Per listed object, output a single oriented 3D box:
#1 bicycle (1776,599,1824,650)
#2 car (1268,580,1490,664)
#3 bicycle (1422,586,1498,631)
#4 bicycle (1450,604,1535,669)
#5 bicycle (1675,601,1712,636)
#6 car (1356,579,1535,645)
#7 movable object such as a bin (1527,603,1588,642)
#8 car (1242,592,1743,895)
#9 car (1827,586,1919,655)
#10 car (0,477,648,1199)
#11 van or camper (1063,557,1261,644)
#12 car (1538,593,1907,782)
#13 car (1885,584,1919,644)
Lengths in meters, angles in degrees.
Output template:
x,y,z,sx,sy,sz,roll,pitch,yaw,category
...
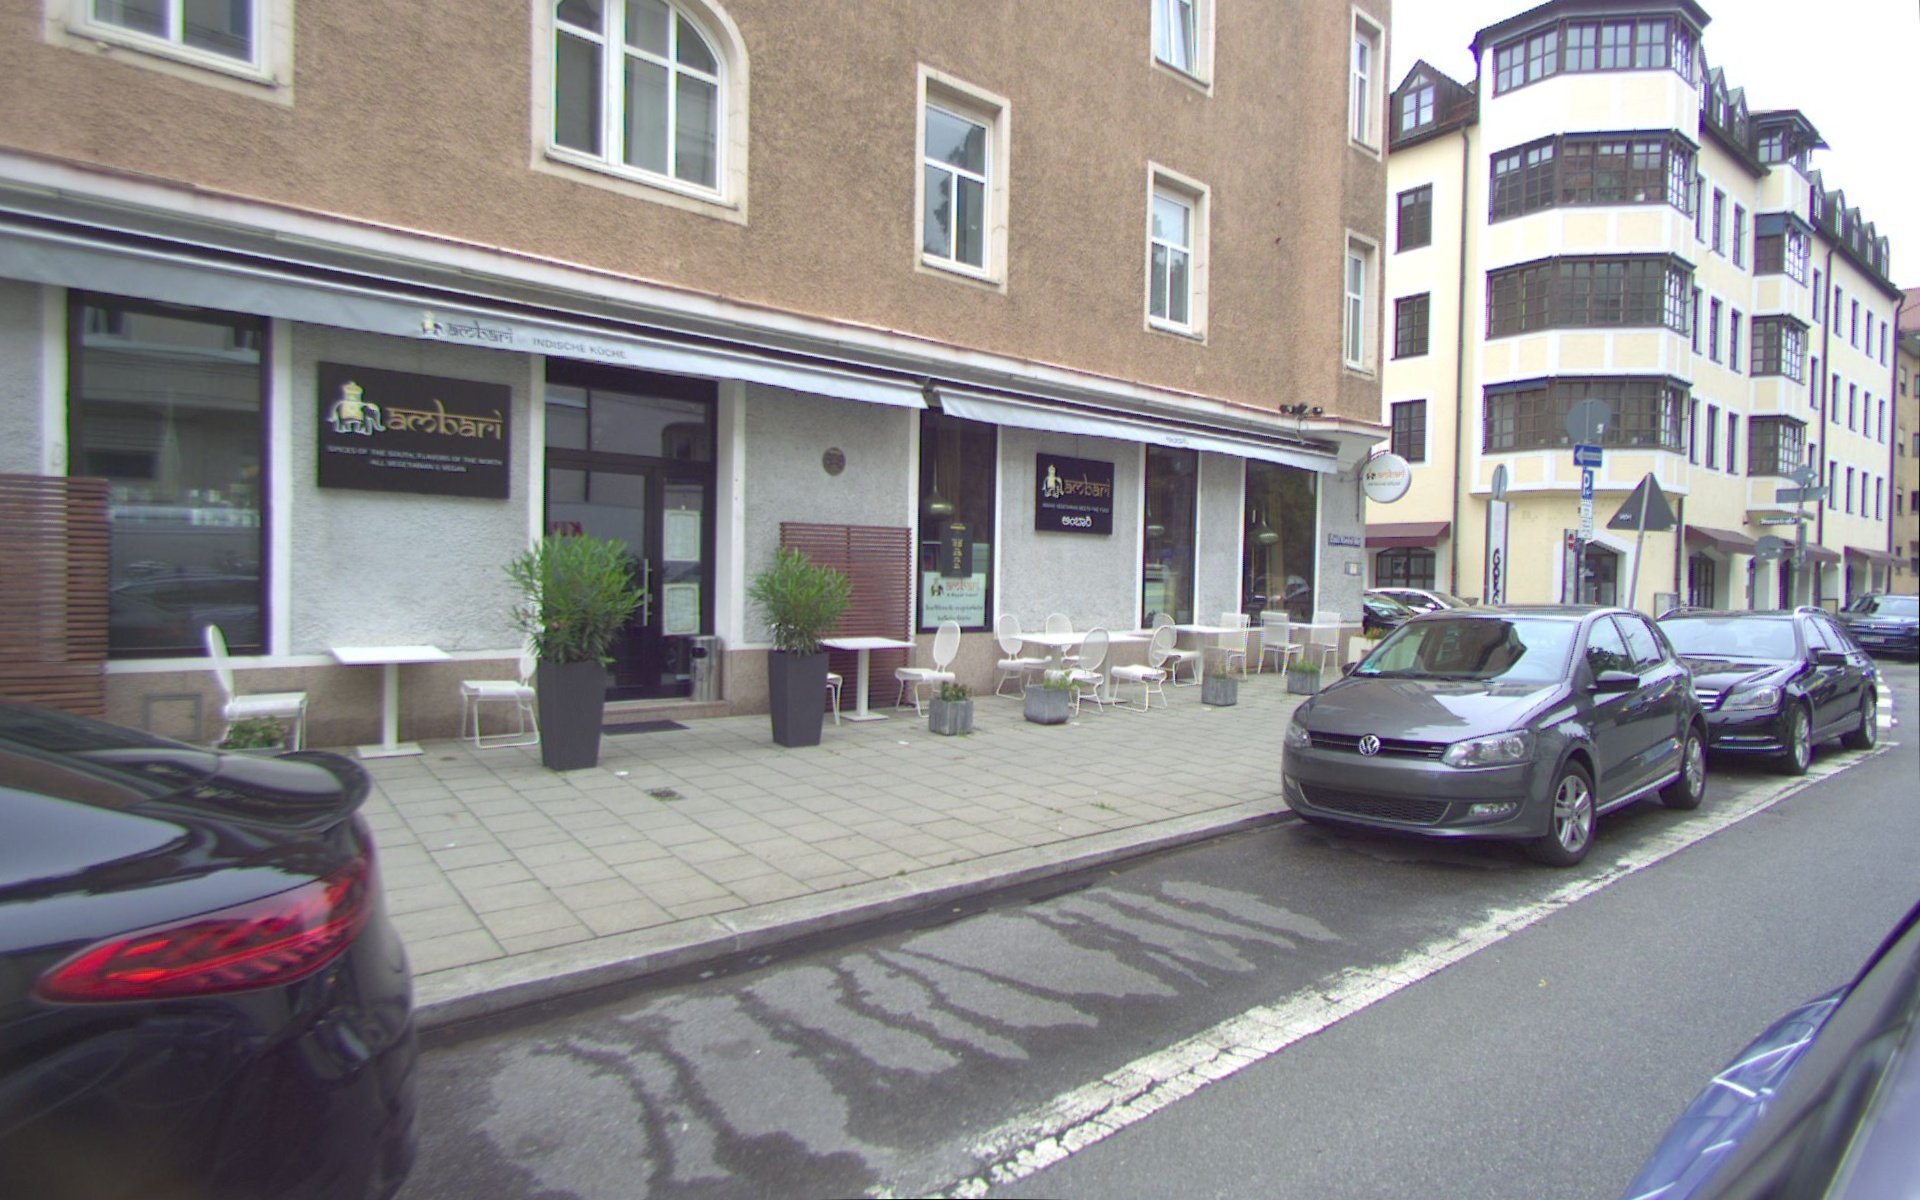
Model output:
x,y,z,sx,sy,sz,roll,pitch,yaw,category
20.631,0.585,24.835,2.015,1.173,0.430,-1,3,-38,bicycle
8.661,0.382,21.182,1.858,1.506,3.883,-1,2,-38,car
14.329,0.216,29.077,0.506,1.201,1.906,0,2,-37,bicycle
9.024,0.610,17.132,1.769,1.017,0.497,2,2,-37,bicycle
20.538,0.504,28.333,1.664,0.912,0.263,-1,6,-37,bicycle
12.429,0.275,26.097,1.718,1.458,3.748,3,0,-34,car
15.050,0.549,25.502,0.671,0.911,1.126,0,2,-37,movable object such as a bin
3.787,0.683,6.859,4.109,1.411,1.575,-1,2,-40,car
24.500,0.476,26.348,4.415,1.642,2.112,0,2,-39,car
-3.295,0.615,0.784,5.537,1.572,1.935,0,1,-40,car
4.980,-0.098,25.601,1.925,1.942,4.915,-2,3,-37,van or camper
7.693,0.659,10.026,4.702,1.422,1.851,0,1,-39,car
28.691,0.422,29.340,4.085,1.607,1.821,-1,6,-35,car
